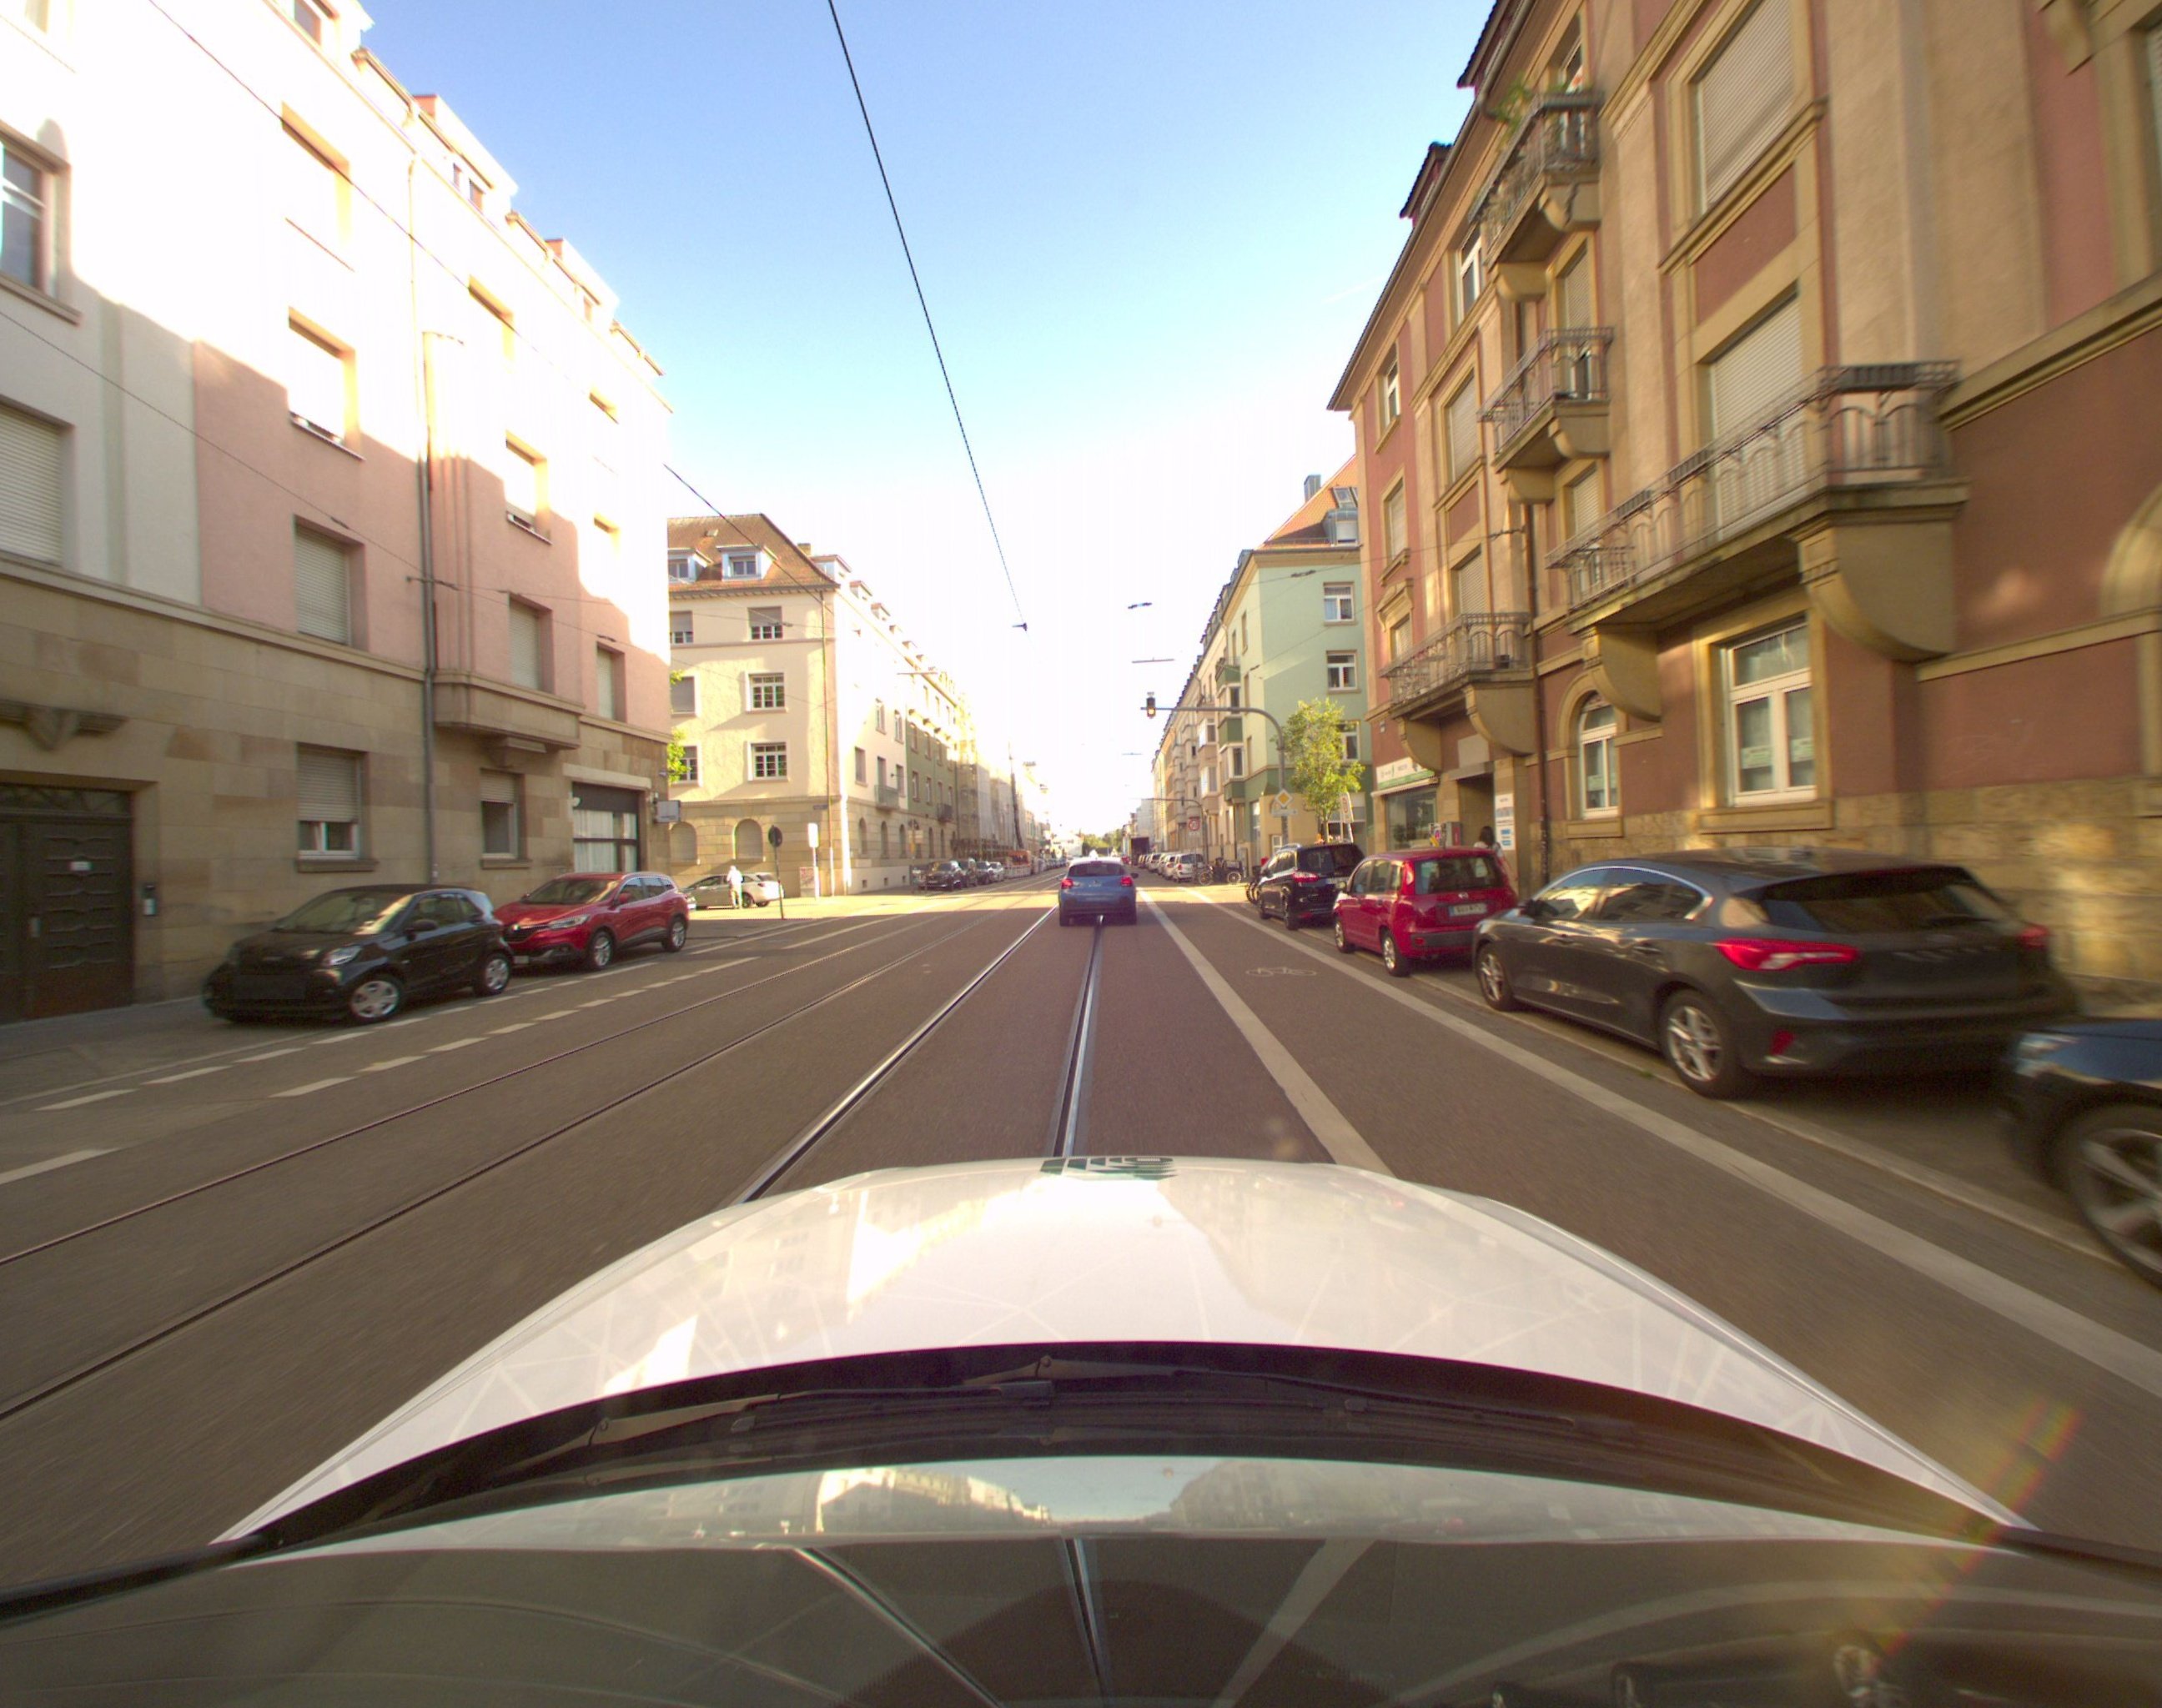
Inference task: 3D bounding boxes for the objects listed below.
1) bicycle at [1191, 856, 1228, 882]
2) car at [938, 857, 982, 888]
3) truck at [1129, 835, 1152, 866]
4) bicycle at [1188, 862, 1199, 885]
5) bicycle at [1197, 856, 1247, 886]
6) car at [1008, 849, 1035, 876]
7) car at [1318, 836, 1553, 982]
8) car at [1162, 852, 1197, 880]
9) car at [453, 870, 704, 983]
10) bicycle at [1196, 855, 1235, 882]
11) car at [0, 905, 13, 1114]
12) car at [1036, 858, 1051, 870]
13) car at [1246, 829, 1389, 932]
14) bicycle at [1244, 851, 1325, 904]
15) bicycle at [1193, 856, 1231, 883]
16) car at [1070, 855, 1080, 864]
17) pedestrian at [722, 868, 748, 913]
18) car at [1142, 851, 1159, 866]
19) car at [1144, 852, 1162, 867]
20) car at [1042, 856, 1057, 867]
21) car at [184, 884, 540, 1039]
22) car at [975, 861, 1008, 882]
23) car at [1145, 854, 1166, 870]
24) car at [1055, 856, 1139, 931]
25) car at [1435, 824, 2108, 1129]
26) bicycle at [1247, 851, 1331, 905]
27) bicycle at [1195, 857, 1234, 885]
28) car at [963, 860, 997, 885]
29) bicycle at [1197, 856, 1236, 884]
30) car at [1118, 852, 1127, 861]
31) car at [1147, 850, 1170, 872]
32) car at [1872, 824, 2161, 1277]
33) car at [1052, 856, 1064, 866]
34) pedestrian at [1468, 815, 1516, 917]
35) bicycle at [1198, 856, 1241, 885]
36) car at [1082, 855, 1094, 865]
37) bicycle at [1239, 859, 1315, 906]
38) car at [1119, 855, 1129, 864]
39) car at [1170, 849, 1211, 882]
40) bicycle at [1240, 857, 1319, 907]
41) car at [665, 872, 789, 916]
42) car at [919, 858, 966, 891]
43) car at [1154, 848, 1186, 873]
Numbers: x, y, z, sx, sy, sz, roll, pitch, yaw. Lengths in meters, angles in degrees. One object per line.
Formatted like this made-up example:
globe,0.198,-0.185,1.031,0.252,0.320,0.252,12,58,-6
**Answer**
bicycle,6.527,0.755,41.338,1.716,1.154,0.469,-6,0,2
car,-7.446,1.118,50.582,1.776,1.816,4.532,-1,0,3
truck,8.361,-0.496,115.712,2.841,4.083,11.280,-3,0,3
bicycle,5.503,0.932,39.916,0.351,1.044,1.730,-3,0,4
bicycle,6.388,0.778,36.946,2.078,1.154,0.849,-6,0,2
car,-5.827,0.798,79.885,2.137,2.475,4.979,-3,0,0
car,4.619,0.630,11.244,1.746,1.594,3.733,-3,0,3
car,6.045,0.697,50.363,1.776,1.576,4.329,-3,0,2
car,-8.777,1.165,14.777,1.777,1.606,4.397,-1,0,0
bicycle,6.610,0.718,40.086,1.716,1.154,0.469,-6,0,2
car,-9.315,1.233,4.311,1.777,1.621,4.179,-1,0,0
car,-5.190,1.353,112.896,1.707,1.594,4.269,-3,0,2
car,4.838,0.492,17.355,1.746,1.735,4.509,-6,0,3
bicycle,5.369,0.613,21.555,1.951,1.227,0.527,-4,0,2
bicycle,6.525,0.754,40.711,1.716,1.154,0.469,-6,0,2
car,-1.160,1.164,163.169,1.819,1.631,4.047,-3,0,2
pedestrian,-13.588,1.423,32.028,0.604,1.712,0.732,-3,0,2
car,8.008,0.542,93.976,1.657,1.647,4.224,-3,0,2
car,7.850,0.631,89.132,1.657,1.519,4.224,-3,0,2
car,-4.834,1.161,126.560,1.819,1.631,4.851,-3,0,2
car,-8.842,1.229,10.385,1.776,1.553,3.021,-1,0,2
car,-6.835,1.339,62.696,1.711,1.502,4.392,-1,0,4
car,7.256,0.761,79.669,1.715,1.486,4.224,-3,0,2
car,0.420,0.838,19.126,1.728,1.507,3.995,-1,0,2
car,4.575,0.641,6.497,1.648,1.513,4.476,-3,0,2
bicycle,5.353,0.611,20.983,1.951,1.227,0.527,-4,0,2
bicycle,6.465,0.798,39.410,1.716,1.154,0.469,-6,0,2
car,-6.971,1.261,56.684,1.777,1.627,4.608,-1,0,0
bicycle,6.457,0.772,38.862,1.716,1.154,0.469,-6,0,2
car,10.558,0.631,208.127,2.211,2.284,4.086,-3,0,2
car,6.975,0.637,73.883,1.724,1.827,4.689,-3,0,2
car,4.369,0.629,1.417,1.648,1.483,4.475,-3,0,1
car,-4.090,1.239,146.630,1.819,1.631,3.907,-3,0,2
pedestrian,7.039,0.200,13.959,0.511,1.687,0.448,-3,0,1
bicycle,6.392,0.763,37.625,1.835,1.154,0.469,-6,0,2
car,1.247,1.127,147.302,1.819,1.631,4.493,-3,0,2
bicycle,5.442,0.779,22.694,1.916,1.160,0.527,-4,0,2
car,7.854,1.027,148.980,1.758,1.486,4.034,-3,0,2
car,5.926,0.610,44.545,1.776,1.632,4.002,-3,0,2
bicycle,5.382,0.753,22.115,1.951,1.227,0.527,-4,0,2
car,-14.422,1.630,33.356,4.202,1.464,1.783,-3,1,1
car,-7.627,1.110,45.283,1.777,1.690,4.667,-1,0,0
car,6.708,0.480,61.762,1.651,1.752,4.599,-3,0,-2
